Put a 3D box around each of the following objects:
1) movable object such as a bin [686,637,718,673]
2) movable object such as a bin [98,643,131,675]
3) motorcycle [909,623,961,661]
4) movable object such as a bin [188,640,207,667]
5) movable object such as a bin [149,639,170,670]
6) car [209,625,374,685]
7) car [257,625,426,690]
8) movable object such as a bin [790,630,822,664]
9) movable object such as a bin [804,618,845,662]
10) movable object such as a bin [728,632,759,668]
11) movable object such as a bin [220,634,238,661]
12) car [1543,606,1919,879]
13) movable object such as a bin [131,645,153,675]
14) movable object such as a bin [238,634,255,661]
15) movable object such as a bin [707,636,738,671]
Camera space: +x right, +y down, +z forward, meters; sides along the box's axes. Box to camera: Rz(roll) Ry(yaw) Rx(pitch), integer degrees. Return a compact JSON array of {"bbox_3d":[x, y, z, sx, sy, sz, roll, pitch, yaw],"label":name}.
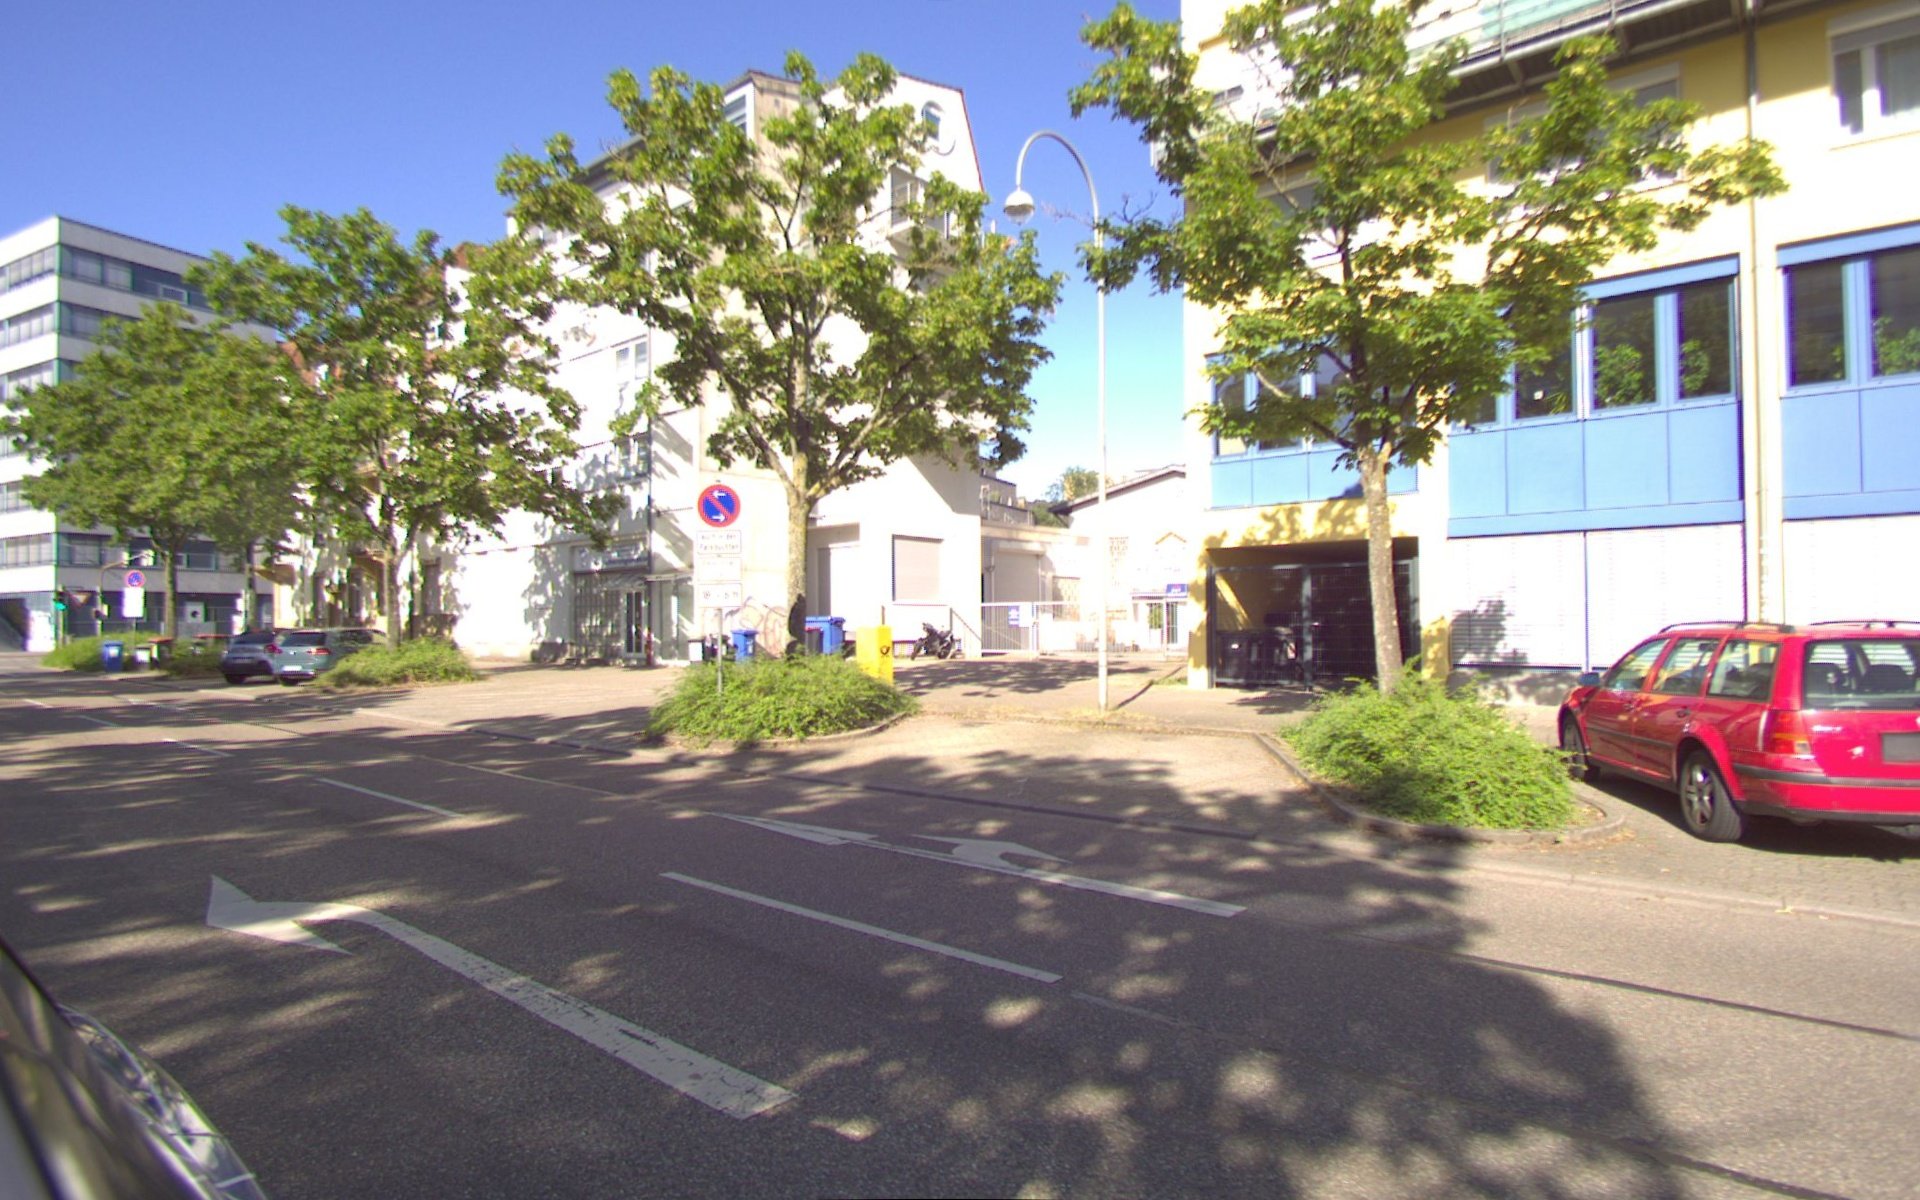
[{"bbox_3d":[-6.925,1.476,27.137,0.574,0.935,0.614,-1,-2,35],"label":"movable object such as a bin"},{"bbox_3d":[-28.890,2.005,34.574,0.664,1.082,0.805,1,-2,-26],"label":"movable object such as a bin"},{"bbox_3d":[-0.745,1.296,31.276,0.526,1.143,1.894,-2,-2,38],"label":"motorcycle"},{"bbox_3d":[-28.081,1.961,37.272,0.469,0.951,0.544,1,-2,-26],"label":"movable object such as a bin"},{"bbox_3d":[-28.373,1.917,35.873,0.469,1.048,0.544,-1,0,-26],"label":"movable object such as a bin"},{"bbox_3d":[-18.720,1.495,28.587,1.789,1.475,3.993,-1,0,6],"label":"car"},{"bbox_3d":[-16.236,1.456,26.806,1.789,1.475,3.993,-1,0,6],"label":"car"},{"bbox_3d":[-4.564,1.388,30.006,0.689,0.980,0.614,-1,-2,35],"label":"movable object such as a bin"},{"bbox_3d":[-4.097,1.211,30.667,1.118,1.289,0.614,-1,-2,35],"label":"movable object such as a bin"},{"bbox_3d":[-6.068,1.400,28.339,0.574,0.980,0.614,-1,-2,35],"label":"movable object such as a bin"},{"bbox_3d":[-29.055,1.894,40.221,0.469,1.070,0.552,1,-2,-26],"label":"movable object such as a bin"},{"bbox_3d":[6.111,0.815,7.618,1.752,1.487,4.217,-2,-1,13],"label":"car"},{"bbox_3d":[-28.200,2.058,34.882,0.469,0.967,0.544,-1,0,-27],"label":"movable object such as a bin"},{"bbox_3d":[-28.533,1.901,40.467,0.469,1.070,0.552,1,-2,-26],"label":"movable object such as a bin"},{"bbox_3d":[-6.492,1.467,27.697,0.574,0.935,0.614,-1,-2,35],"label":"movable object such as a bin"}]
